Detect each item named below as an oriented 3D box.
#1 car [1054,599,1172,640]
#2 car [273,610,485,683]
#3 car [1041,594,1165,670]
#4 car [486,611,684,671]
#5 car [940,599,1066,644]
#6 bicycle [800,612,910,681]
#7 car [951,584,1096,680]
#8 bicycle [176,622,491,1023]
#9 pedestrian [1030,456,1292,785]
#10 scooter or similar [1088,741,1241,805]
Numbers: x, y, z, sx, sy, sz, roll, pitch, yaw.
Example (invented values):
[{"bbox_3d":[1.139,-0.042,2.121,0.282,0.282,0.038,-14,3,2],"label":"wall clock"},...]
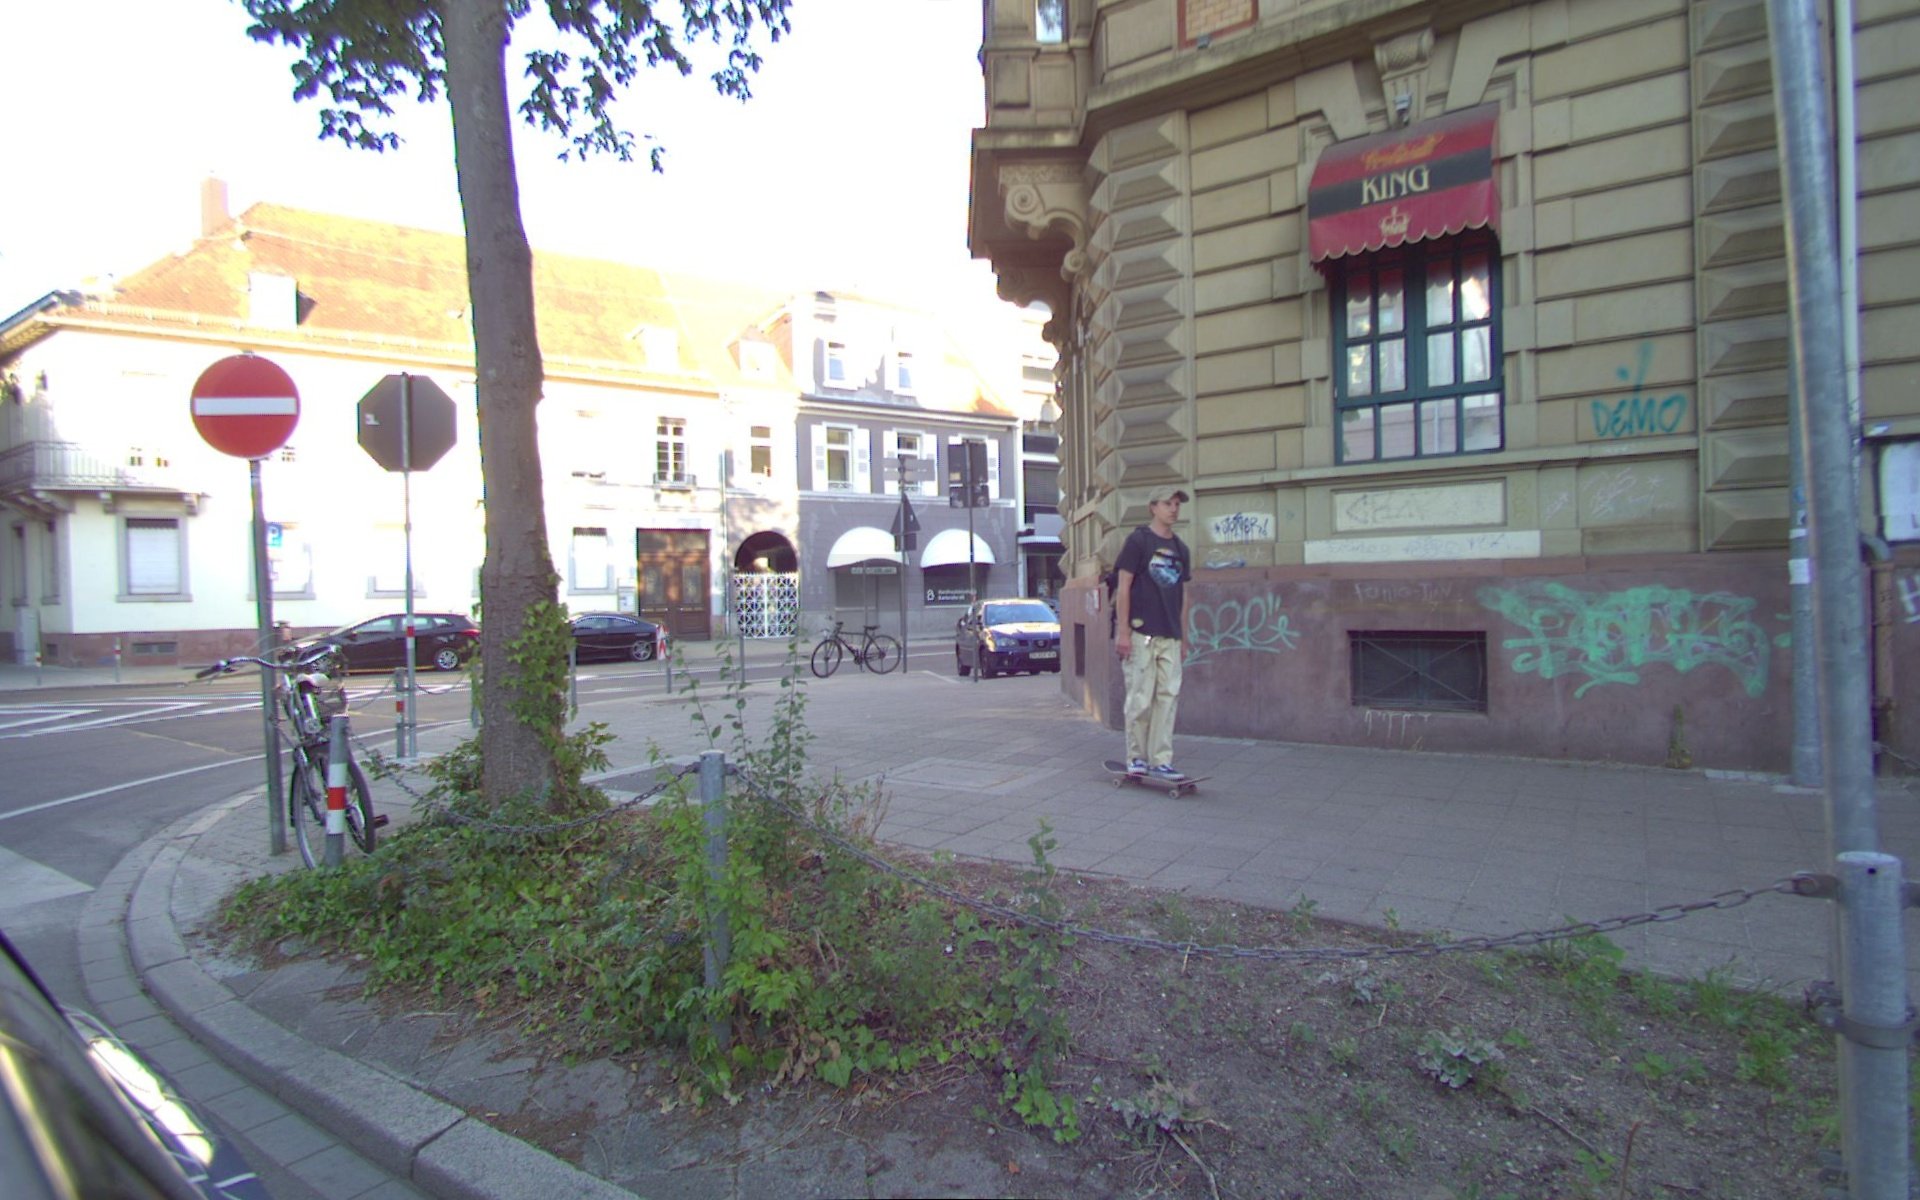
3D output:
[{"bbox_3d":[5.848,0.708,38.486,4.426,1.398,1.753,-1,0,-34],"label":"car"},{"bbox_3d":[-14.194,1.087,24.859,4.356,1.553,1.812,-1,-1,-33],"label":"car"},{"bbox_3d":[3.156,0.730,23.254,1.742,1.523,4.634,-2,-2,-5],"label":"car"},{"bbox_3d":[-10.129,1.075,27.446,4.775,1.405,1.784,-1,-1,-31],"label":"car"},{"bbox_3d":[1.528,0.731,35.631,4.178,1.458,1.753,-1,0,-33],"label":"car"},{"bbox_3d":[-1.879,0.820,18.120,1.772,1.134,0.730,-2,-3,-24],"label":"bicycle"},{"bbox_3d":[0.996,0.611,17.909,1.713,1.472,3.870,-2,-3,-9],"label":"car"},{"bbox_3d":[-2.916,0.750,4.527,0.833,1.277,2.576,0,-1,-40],"label":"bicycle"},{"bbox_3d":[1.170,0.110,6.130,0.836,1.752,1.270,-3,-1,-29],"label":"pedestrian"},{"bbox_3d":[1.201,1.017,6.050,0.411,0.208,0.885,-3,1,-29],"label":"scooter or similar"}]
